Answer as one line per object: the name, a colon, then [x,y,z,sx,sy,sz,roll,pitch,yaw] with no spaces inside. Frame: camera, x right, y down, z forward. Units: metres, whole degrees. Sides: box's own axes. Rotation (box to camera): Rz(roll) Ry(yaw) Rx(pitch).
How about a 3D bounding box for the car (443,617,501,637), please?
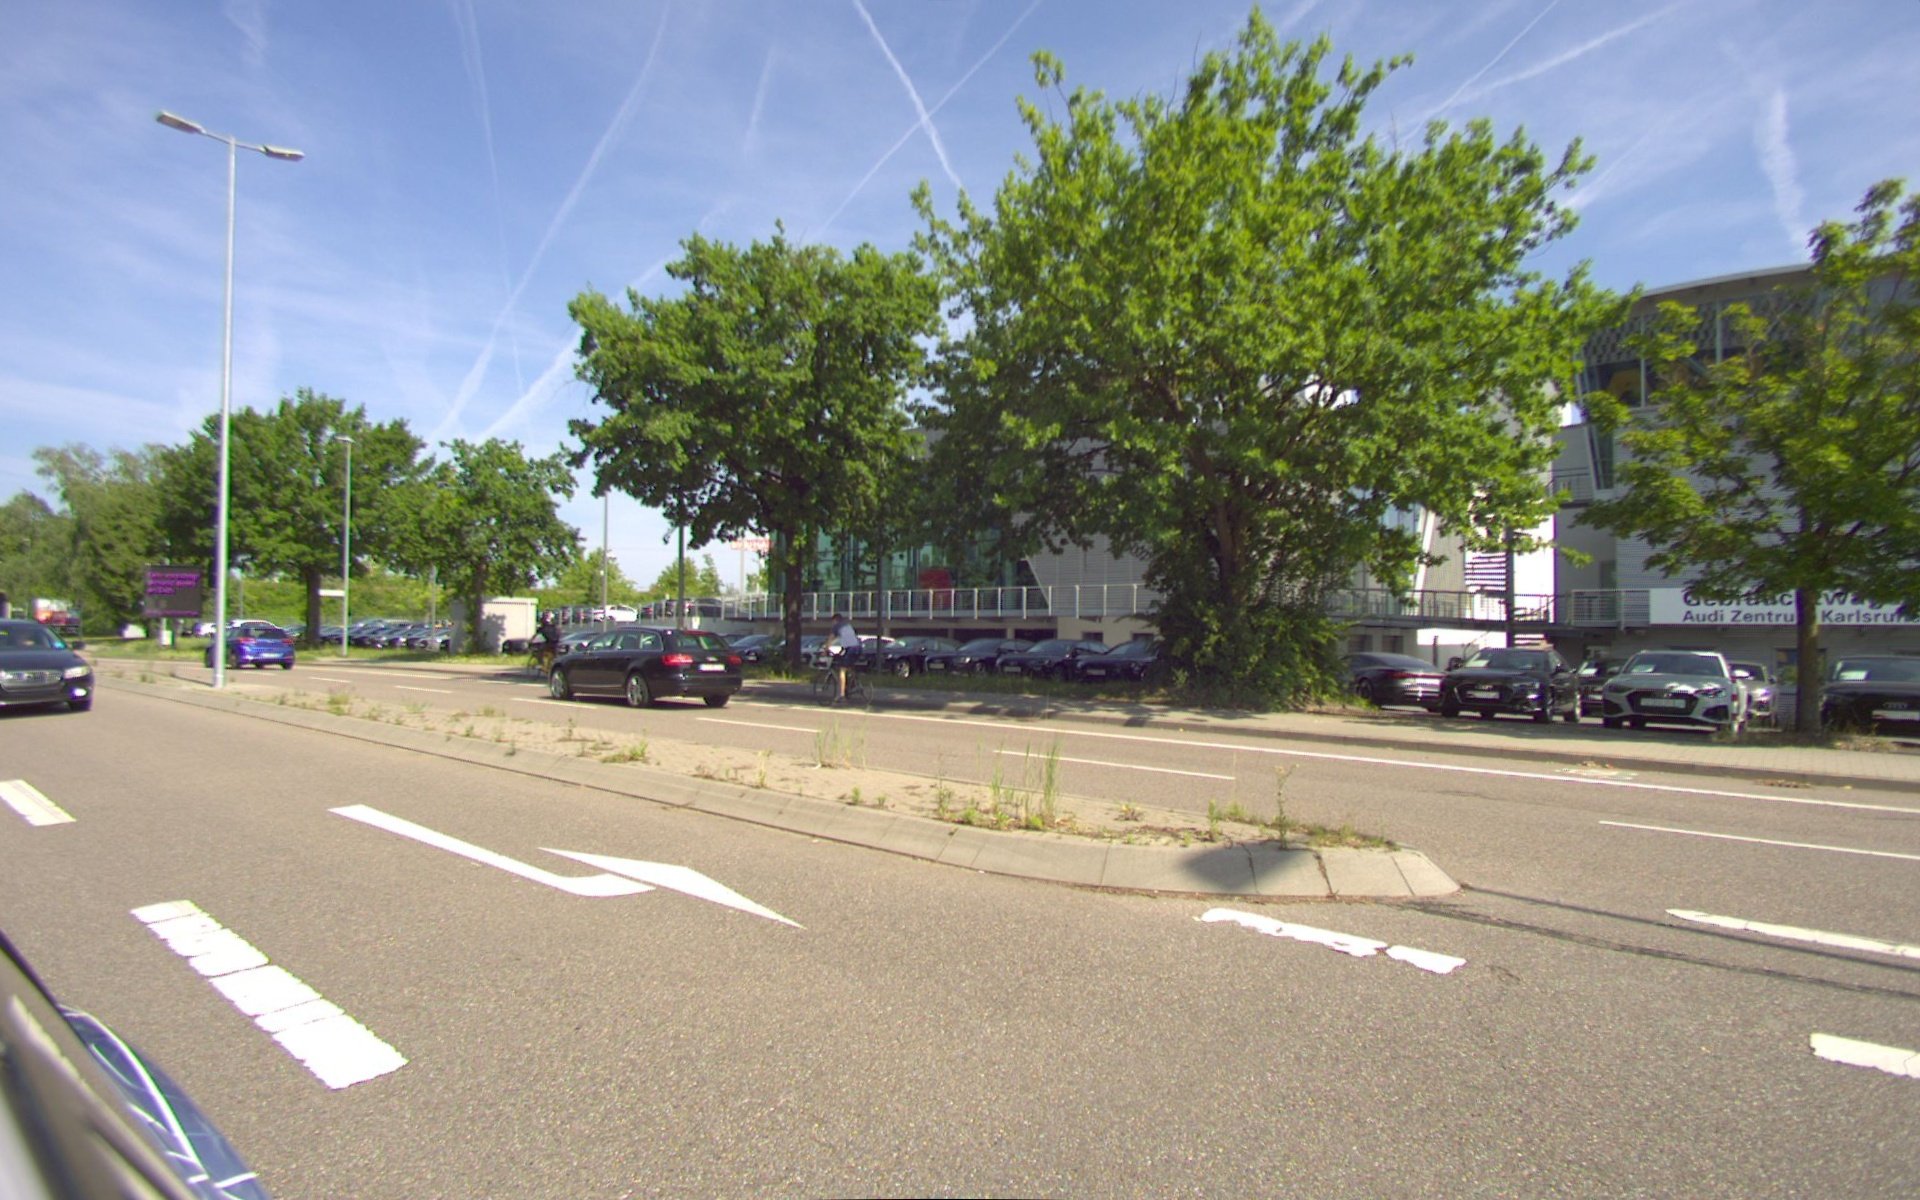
car: [-42.200,2.381,87.641,1.689,1.511,4.142,-2,-6,41]

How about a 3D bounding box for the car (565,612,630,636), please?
car: [-26.593,1.780,74.260,1.689,1.511,4.142,-2,-6,41]

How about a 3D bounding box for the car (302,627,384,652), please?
car: [-39.543,2.552,64.899,1.689,1.333,4.142,-2,-6,41]

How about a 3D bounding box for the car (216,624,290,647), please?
car: [-52.149,2.631,74.699,1.689,1.511,4.142,-2,-6,41]

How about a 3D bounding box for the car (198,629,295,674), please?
car: [-24.618,1.756,34.866,3.866,1.449,1.711,-1,-4,40]

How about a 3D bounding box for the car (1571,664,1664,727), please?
car: [17.729,2.503,27.223,1.688,1.484,3.779,-1,-3,39]

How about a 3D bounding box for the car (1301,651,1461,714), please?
car: [9.949,1.921,24.261,1.662,1.343,3.848,1,-3,-11]

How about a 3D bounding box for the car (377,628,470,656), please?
car: [-29.527,2.310,55.765,1.689,1.333,4.142,-2,-6,41]

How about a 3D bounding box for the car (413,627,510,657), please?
car: [-25.897,2.218,52.691,1.689,1.333,4.142,-2,-6,41]

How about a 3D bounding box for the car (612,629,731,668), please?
car: [-11.181,1.916,39.451,1.689,1.309,4.142,-2,-6,41]

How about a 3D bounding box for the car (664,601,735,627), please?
car: [-16.800,0.933,65.430,1.689,1.416,4.142,-2,-6,41]

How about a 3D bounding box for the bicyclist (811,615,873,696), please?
bicyclist: [-2.261,1.046,19.332,1.143,1.494,0.564,-2,-3,44]

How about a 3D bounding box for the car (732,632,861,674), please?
car: [-5.443,1.790,34.075,1.689,1.215,4.142,-2,-6,41]

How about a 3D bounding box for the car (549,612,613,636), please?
car: [-28.364,1.835,75.778,1.689,1.511,4.142,-2,-6,41]

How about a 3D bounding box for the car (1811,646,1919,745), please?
car: [14.570,1.503,15.823,1.833,1.365,4.069,-1,-5,39]

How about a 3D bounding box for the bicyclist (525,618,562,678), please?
bicyclist: [-11.506,1.330,27.949,0.910,1.609,0.570,-2,-4,43]

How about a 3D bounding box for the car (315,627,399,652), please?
car: [-37.619,2.488,63.251,1.689,1.333,4.142,-2,-6,41]

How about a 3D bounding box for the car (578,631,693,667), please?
car: [-13.178,2.007,41.247,1.689,1.265,4.142,-2,-6,41]

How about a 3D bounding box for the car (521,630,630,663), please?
car: [-16.904,2.080,44.588,1.689,1.256,4.142,-2,-6,41]

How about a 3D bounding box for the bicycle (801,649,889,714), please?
bicycle: [-2.211,1.522,19.263,1.925,1.159,0.565,-2,-3,44]

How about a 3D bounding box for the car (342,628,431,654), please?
car: [-33.619,2.412,59.396,1.689,1.333,4.142,-2,-6,41]

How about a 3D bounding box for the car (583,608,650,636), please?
car: [-24.585,1.585,72.526,1.689,1.745,4.142,-2,-6,41]

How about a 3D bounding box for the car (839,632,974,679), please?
car: [-1.565,1.729,30.998,1.689,1.256,4.142,-2,-6,41]

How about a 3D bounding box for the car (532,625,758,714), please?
car: [-6.012,1.261,19.048,4.661,1.471,1.827,-2,-5,41]

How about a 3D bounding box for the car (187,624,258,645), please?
car: [-58.075,2.736,79.741,1.689,1.389,4.142,-2,-6,41]

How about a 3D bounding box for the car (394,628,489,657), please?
car: [-27.813,2.280,54.364,1.689,1.333,4.142,-2,-6,41]

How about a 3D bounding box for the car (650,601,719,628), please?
car: [-18.361,1.011,67.648,1.689,1.511,4.142,-2,-6,41]

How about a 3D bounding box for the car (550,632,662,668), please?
car: [-14.947,2.145,42.874,1.689,1.335,4.142,-2,-6,41]

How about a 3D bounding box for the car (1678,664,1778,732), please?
car: [19.527,2.413,25.682,1.803,1.484,3.778,-1,-3,40]

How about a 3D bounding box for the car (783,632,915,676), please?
car: [-3.515,1.758,32.556,1.689,1.204,4.142,-2,-6,41]

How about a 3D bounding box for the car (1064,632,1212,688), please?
car: [4.588,1.553,25.640,1.796,1.236,4.142,-2,-6,41]

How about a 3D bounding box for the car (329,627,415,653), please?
car: [-35.477,2.438,61.116,1.689,1.333,4.142,-2,-6,41]

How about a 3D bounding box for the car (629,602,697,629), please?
car: [-20.363,1.092,69.508,1.689,1.511,4.142,-2,-6,41]

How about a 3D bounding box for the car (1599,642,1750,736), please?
car: [12.473,1.539,17.557,1.801,1.405,4.173,-1,-5,40]

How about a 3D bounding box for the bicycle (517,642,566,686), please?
bicycle: [-11.600,1.765,28.017,1.770,1.159,0.565,-2,-4,44]

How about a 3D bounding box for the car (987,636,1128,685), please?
car: [2.706,1.658,27.357,1.694,1.143,4.142,-2,-6,41]

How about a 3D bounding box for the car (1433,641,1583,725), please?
car: [10.527,1.589,19.324,1.807,1.413,3.984,-1,-5,39]

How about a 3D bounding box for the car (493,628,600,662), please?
car: [-18.801,2.082,46.166,1.689,1.333,4.142,-2,-6,41]

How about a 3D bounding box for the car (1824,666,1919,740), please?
car: [21.527,2.365,23.879,1.689,1.484,3.622,-1,-3,40]

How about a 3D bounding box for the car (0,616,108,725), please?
car: [-15.519,1.067,16.209,4.861,1.533,1.860,-2,-1,37]

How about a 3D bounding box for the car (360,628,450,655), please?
car: [-31.629,2.385,57.759,1.689,1.333,4.142,-2,-6,41]

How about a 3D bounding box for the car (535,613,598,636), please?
car: [-30.040,1.917,77.337,1.689,1.511,4.142,-2,-6,41]

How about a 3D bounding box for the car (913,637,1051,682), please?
car: [0.714,1.740,29.266,1.719,1.131,4.142,-2,-6,41]

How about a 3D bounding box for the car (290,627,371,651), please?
car: [-41.478,2.579,66.769,1.689,1.333,4.142,-2,-6,41]

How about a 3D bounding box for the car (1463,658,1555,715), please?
car: [15.791,2.429,29.049,1.688,1.448,3.780,-1,-3,38]
